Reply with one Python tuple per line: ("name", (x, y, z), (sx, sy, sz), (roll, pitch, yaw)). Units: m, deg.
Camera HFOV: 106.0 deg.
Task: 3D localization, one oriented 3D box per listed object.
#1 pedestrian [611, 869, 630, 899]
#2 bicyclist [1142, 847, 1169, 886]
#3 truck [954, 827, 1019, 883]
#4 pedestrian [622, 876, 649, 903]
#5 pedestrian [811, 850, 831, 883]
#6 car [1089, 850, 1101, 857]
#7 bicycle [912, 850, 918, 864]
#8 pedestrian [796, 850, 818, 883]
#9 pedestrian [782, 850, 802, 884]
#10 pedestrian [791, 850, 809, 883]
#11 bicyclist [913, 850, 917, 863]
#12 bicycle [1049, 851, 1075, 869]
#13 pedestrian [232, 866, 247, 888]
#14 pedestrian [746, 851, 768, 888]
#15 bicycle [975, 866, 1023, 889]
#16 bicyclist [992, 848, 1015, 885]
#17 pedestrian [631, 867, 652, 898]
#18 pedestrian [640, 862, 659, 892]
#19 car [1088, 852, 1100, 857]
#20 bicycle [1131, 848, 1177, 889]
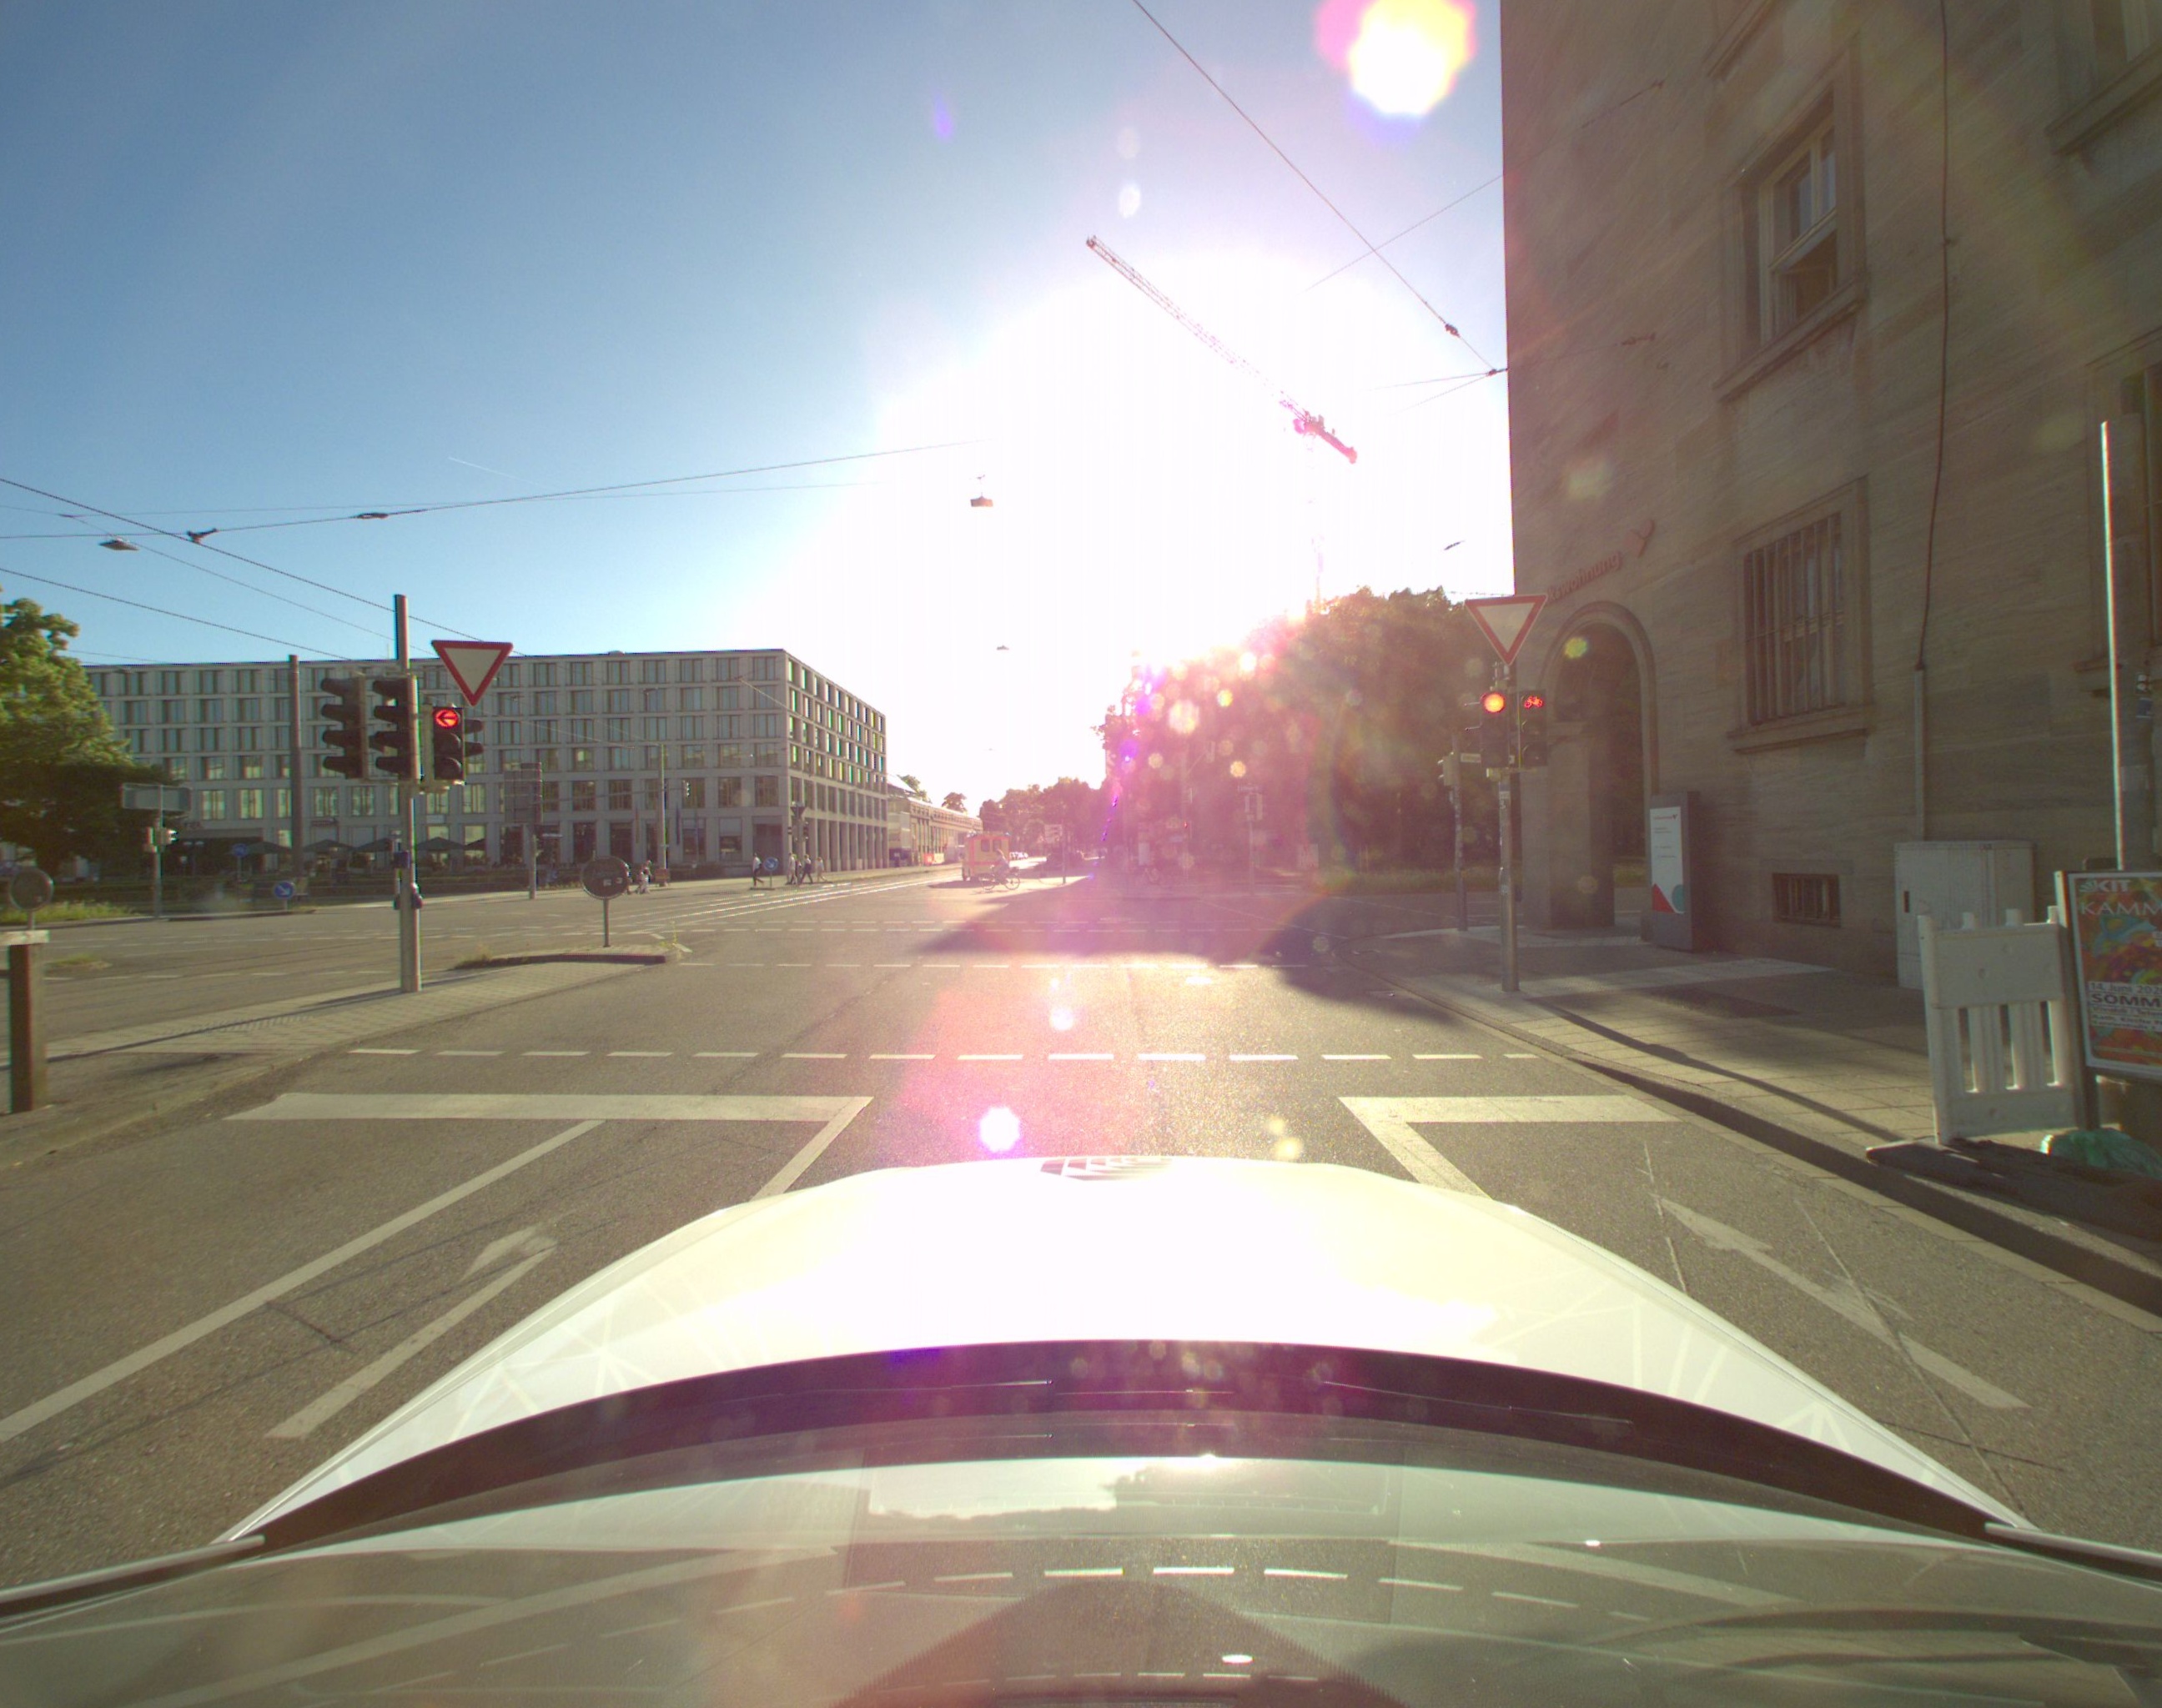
("pedestrian", (-25.015, 1.628, 44.272), (0.687, 1.644, 0.625), (-2, 0, 33))
("bicyclist", (3.277, 0.546, 35.736), (1.071, 1.641, 0.597), (-2, 0, 0))
("truck", (-5.659, 0.069, 47.836), (2.723, 3.016, 6.452), (-1, 0, -17))
("pedestrian", (-23.396, 1.863, 42.792), (0.993, 1.317, 0.765), (-2, 0, -7))
("pedestrian", (-14.494, 0.708, 45.330), (0.865, 1.803, 0.533), (-2, 0, 7))
("car", (3.660, -0.142, 213.609), (3.207, 1.588, 1.445), (0, -1, -3))
("bicycle", (-26.712, 0.501, 131.155), (0.569, 2.296, 1.422), (-2, 0, 0))
("pedestrian", (-14.958, 0.682, 44.462), (0.865, 1.803, 0.665), (-2, 0, 7))
("pedestrian", (-15.965, 0.712, 44.968), (0.735, 1.803, 0.717), (-2, 0, 7))
("pedestrian", (-15.820, 0.714, 45.881), (0.735, 1.803, 0.533), (-2, 0, 7))
("bicyclist", (-26.720, 0.407, 131.090), (0.569, 2.024, 0.762), (-2, 0, 0))
("bicycle", (-1.910, 0.618, 81.555), (2.538, 1.743, 1.038), (0, -1, 1))
("pedestrian", (-64.179, 1.727, 62.096), (0.538, 1.669, 0.561), (0, -1, -2))
("pedestrian", (-17.359, 0.815, 43.641), (0.797, 1.918, 0.638), (-2, 0, 7))
("bicycle", (-3.622, 1.049, 35.941), (2.060, 0.933, 0.574), (-2, 0, -4))
("bicyclist", (-3.415, 0.552, 35.953), (0.972, 1.560, 0.574), (-2, 0, -3))
("pedestrian", (-23.516, 1.508, 43.592), (0.790, 1.644, 0.621), (-2, 0, -3))
("pedestrian", (-23.885, 1.254, 45.054), (0.692, 1.644, 0.621), (-2, 0, -3))
("car", (3.320, 0.005, 211.448), (3.207, 1.263, 1.373), (0, -1, 0))
("bicycle", (3.200, 0.634, 35.742), (1.891, 1.735, 0.597), (-2, 0, -1))
